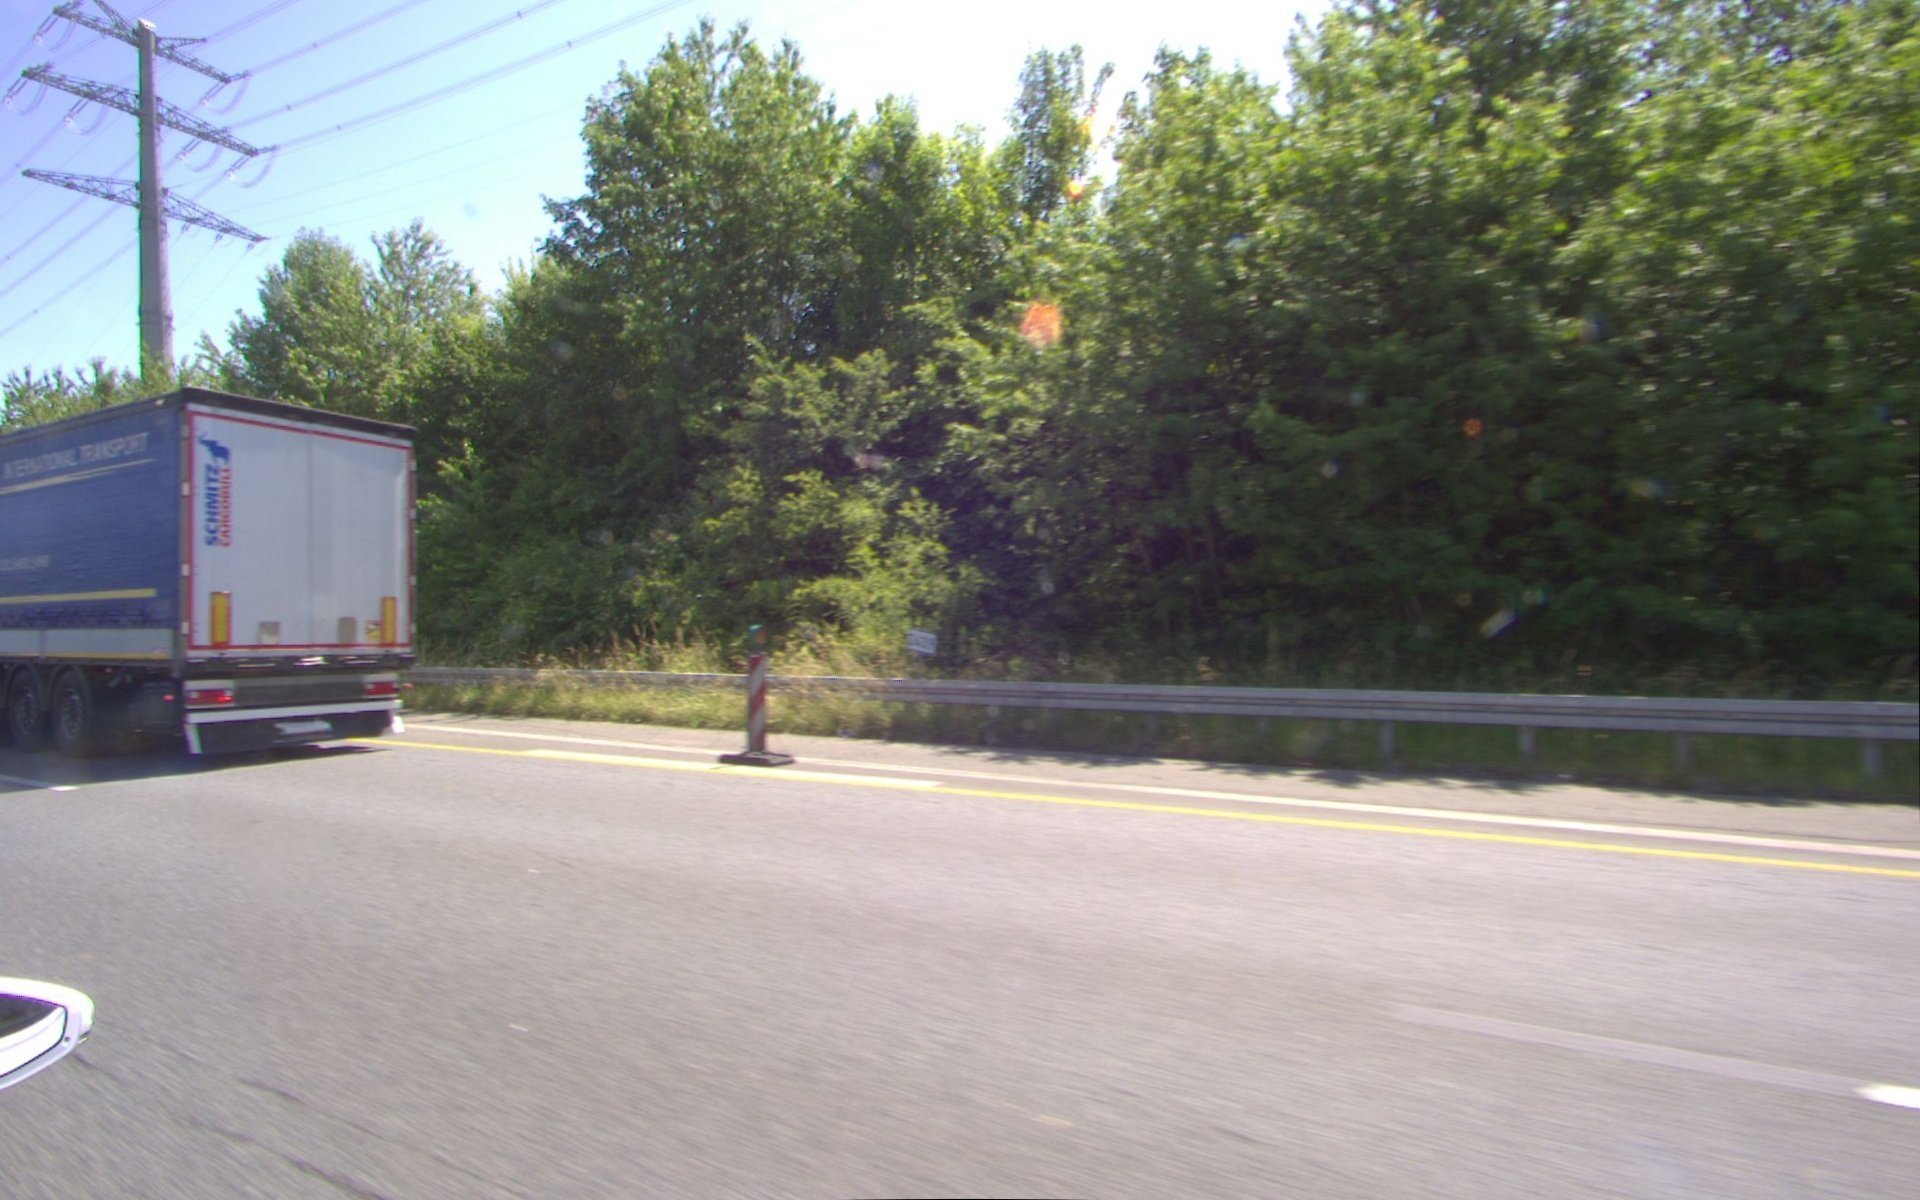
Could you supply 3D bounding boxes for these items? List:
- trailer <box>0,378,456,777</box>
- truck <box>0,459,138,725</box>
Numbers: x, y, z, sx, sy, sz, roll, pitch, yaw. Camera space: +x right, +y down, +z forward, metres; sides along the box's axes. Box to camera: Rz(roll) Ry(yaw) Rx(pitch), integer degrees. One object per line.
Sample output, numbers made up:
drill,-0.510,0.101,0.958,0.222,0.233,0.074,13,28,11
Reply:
trailer,-12.205,-0.119,14.406,11.313,4.095,3.062,-1,-1,29
truck,-18.189,-0.059,17.779,7.677,4.140,3.022,-1,-1,29
